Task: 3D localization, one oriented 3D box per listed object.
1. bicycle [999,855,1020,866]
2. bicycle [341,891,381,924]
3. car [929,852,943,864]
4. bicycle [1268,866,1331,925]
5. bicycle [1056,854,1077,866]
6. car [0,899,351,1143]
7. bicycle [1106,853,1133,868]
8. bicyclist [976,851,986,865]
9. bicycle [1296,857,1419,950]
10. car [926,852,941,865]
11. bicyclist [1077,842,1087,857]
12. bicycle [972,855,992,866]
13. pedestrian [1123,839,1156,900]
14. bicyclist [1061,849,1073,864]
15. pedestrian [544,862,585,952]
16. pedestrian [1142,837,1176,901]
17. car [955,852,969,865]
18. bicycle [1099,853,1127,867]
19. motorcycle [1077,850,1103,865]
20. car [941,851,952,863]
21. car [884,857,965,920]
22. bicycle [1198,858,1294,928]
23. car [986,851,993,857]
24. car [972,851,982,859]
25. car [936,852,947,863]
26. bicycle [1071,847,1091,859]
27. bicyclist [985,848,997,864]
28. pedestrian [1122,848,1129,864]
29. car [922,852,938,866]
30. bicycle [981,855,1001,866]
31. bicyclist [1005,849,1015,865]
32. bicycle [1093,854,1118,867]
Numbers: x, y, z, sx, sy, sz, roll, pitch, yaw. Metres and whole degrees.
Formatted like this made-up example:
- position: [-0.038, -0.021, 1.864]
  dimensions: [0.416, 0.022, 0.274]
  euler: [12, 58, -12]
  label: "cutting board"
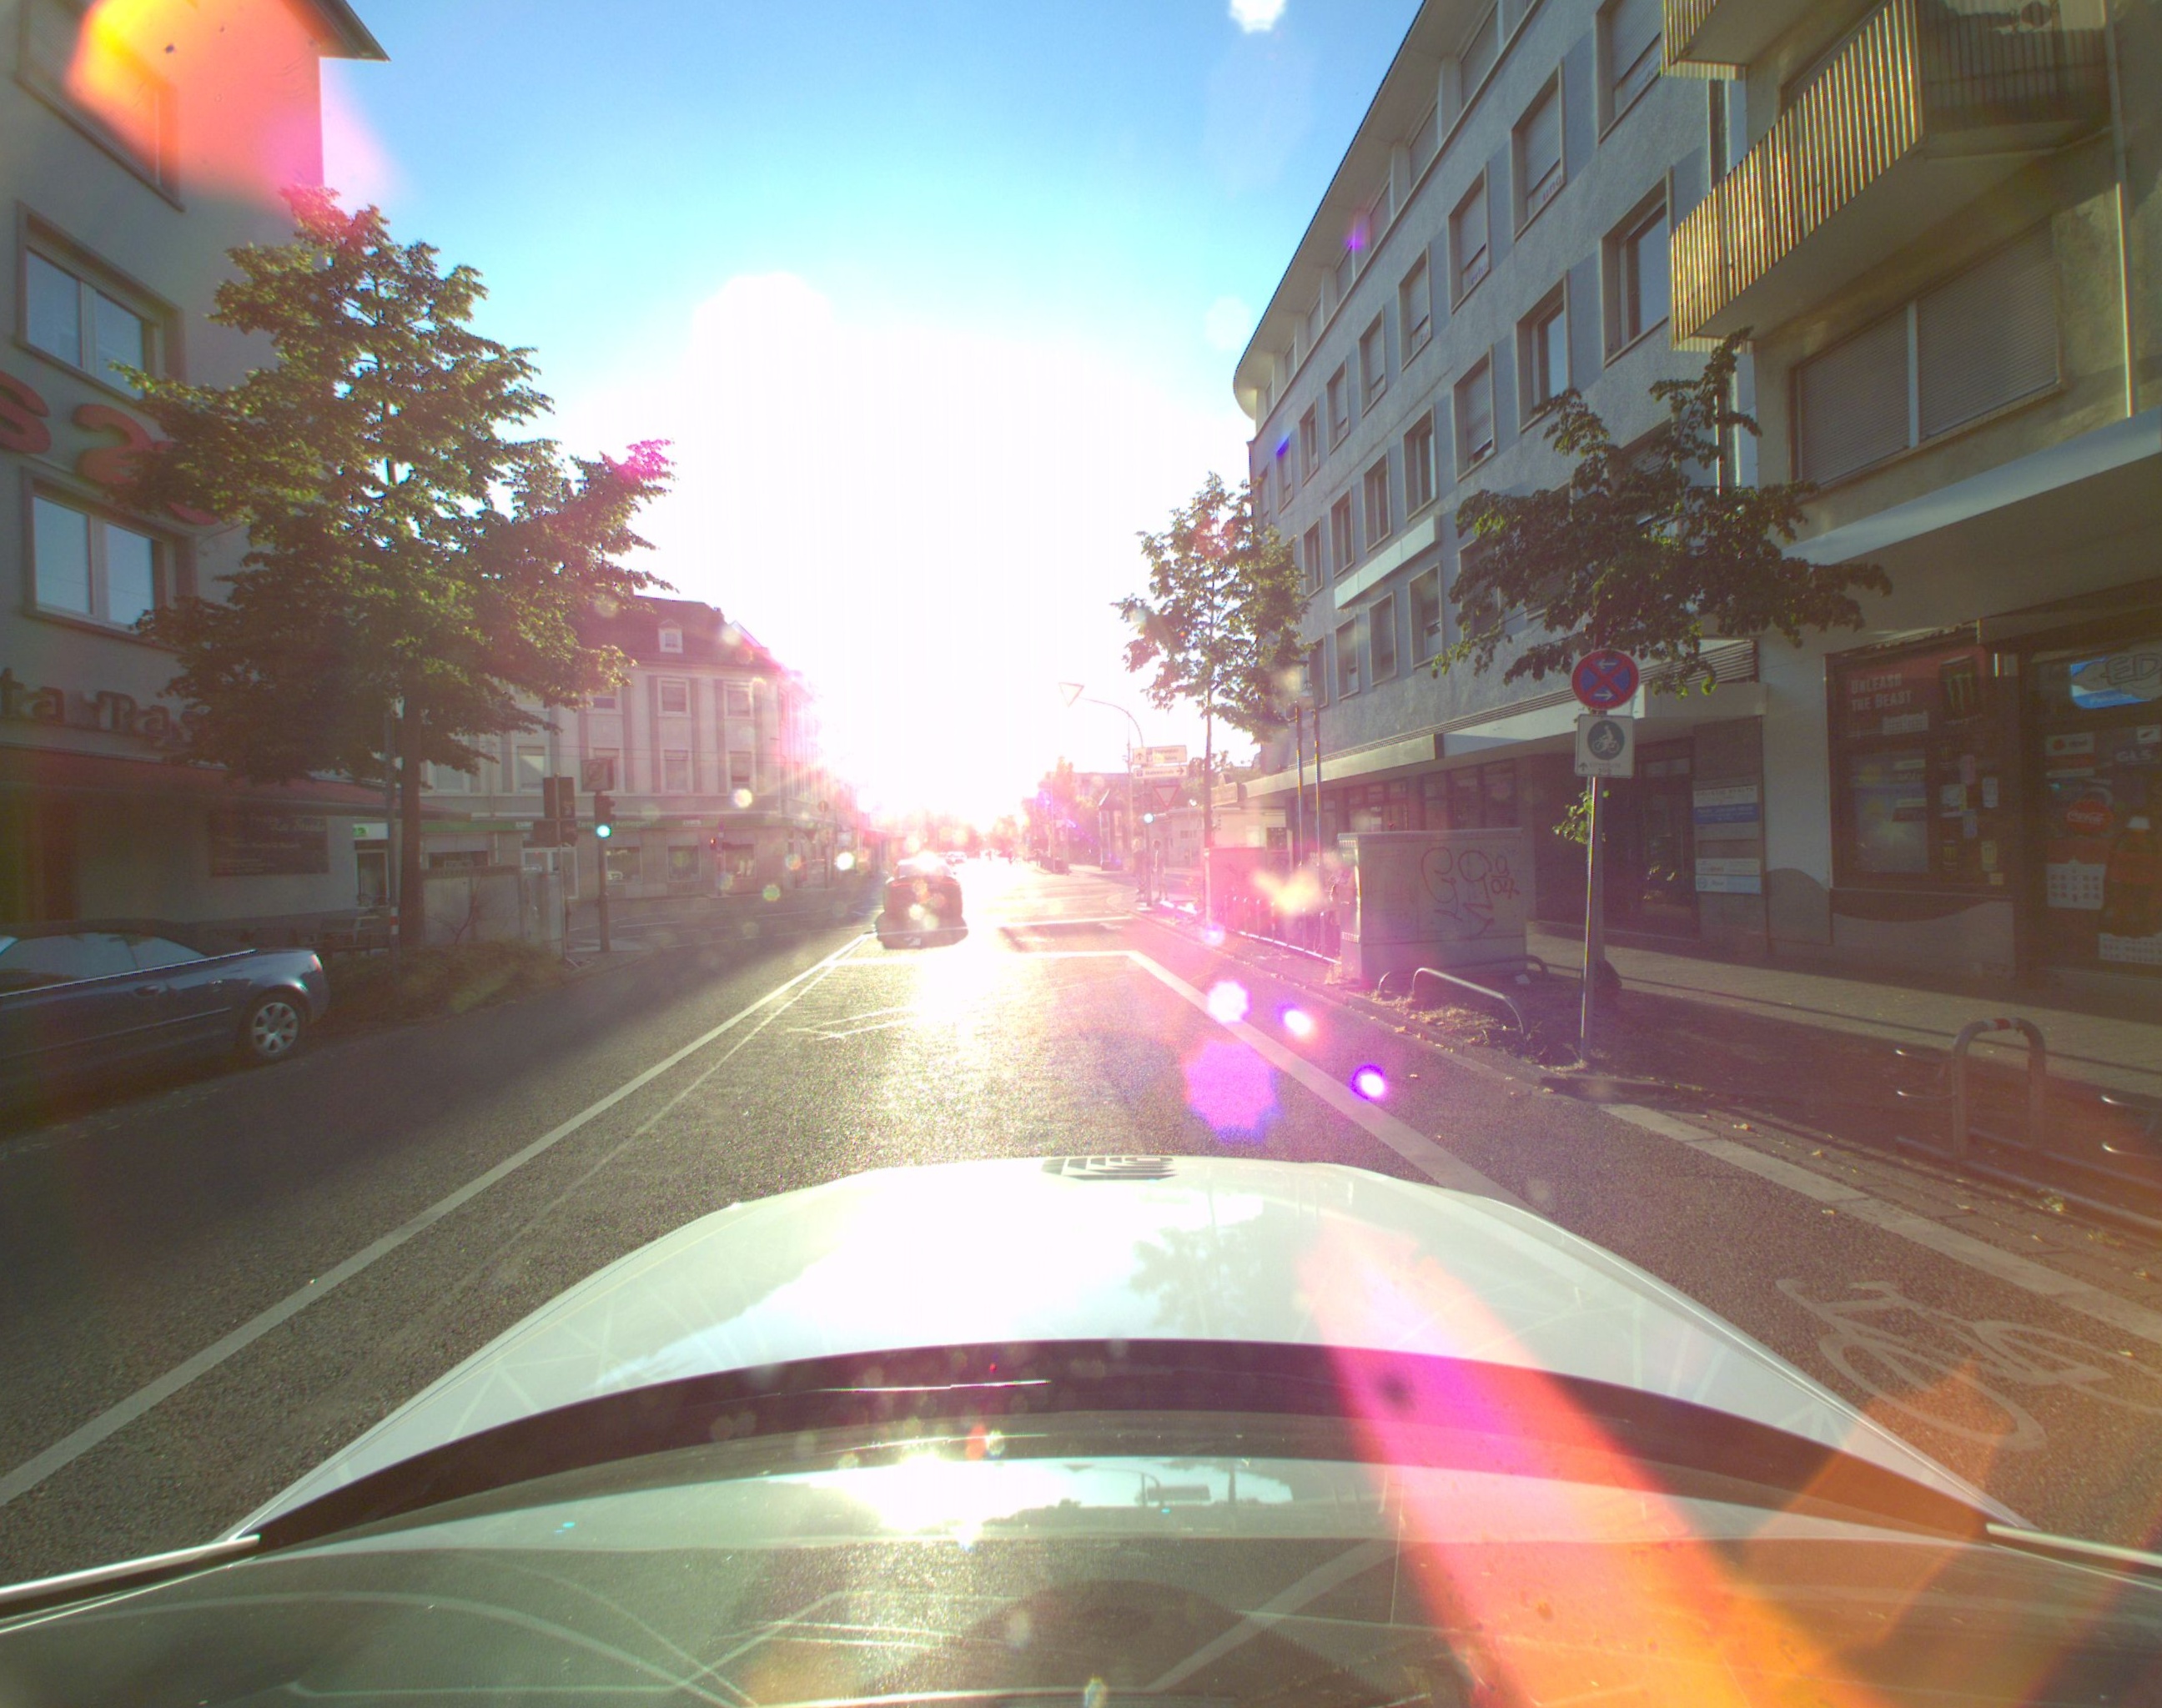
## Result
- position: [-7.377, 0.668, 84.339]
  dimensions: [2.104, 1.204, 0.502]
  euler: [-1, -1, 10]
  label: "bicycle"
- position: [-26.632, 1.961, 30.150]
  dimensions: [0.499, 1.059, 1.730]
  euler: [-2, 0, -21]
  label: "bicycle"
- position: [-18.845, 0.575, 105.807]
  dimensions: [1.543, 1.469, 3.343]
  euler: [-1, 0, -7]
  label: "car"
- position: [4.140, 0.755, 15.541]
  dimensions: [0.403, 1.010, 1.663]
  euler: [-4, 1, -12]
  label: "bicycle"
- position: [-1.459, 0.636, 84.437]
  dimensions: [2.107, 1.204, 0.501]
  euler: [0, -1, 5]
  label: "bicycle"
- position: [-7.598, 1.144, 5.545]
  dimensions: [1.647, 1.353, 4.302]
  euler: [-3, 0, -6]
  label: "car"
- position: [2.887, 0.513, 61.869]
  dimensions: [2.013, 1.044, 0.560]
  euler: [-2, -1, 1]
  label: "bicycle"
- position: [-10.668, 0.463, 86.991]
  dimensions: [0.895, 1.481, 0.735]
  euler: [0, -1, 2]
  label: "bicyclist"
- position: [3.875, 0.664, 11.384]
  dimensions: [1.662, 1.194, 0.491]
  euler: [-2, 0, -20]
  label: "bicycle"
- position: [-18.230, 0.576, 100.877]
  dimensions: [1.543, 1.469, 3.343]
  euler: [-1, 0, -7]
  label: "car"
- position: [0.138, -0.468, 85.671]
  dimensions: [0.955, 1.601, 0.647]
  euler: [0, -1, 5]
  label: "bicyclist"
- position: [-10.587, 0.698, 86.957]
  dimensions: [2.109, 1.204, 0.500]
  euler: [0, -1, 2]
  label: "bicycle"
- position: [1.757, 0.457, 24.331]
  dimensions: [0.589, 1.773, 0.741]
  euler: [-2, 0, -37]
  label: "pedestrian"
- position: [-1.450, 0.250, 84.442]
  dimensions: [1.123, 1.601, 0.703]
  euler: [0, -1, 5]
  label: "bicyclist"
- position: [-9.886, 0.993, 15.576]
  dimensions: [0.589, 1.656, 0.791]
  euler: [-2, 0, -34]
  label: "pedestrian"
- position: [2.248, 0.419, 23.464]
  dimensions: [0.641, 1.773, 0.743]
  euler: [-2, 1, -27]
  label: "pedestrian"
- position: [-14.192, 0.514, 97.113]
  dimensions: [1.543, 1.468, 3.343]
  euler: [-1, 0, -7]
  label: "car"
- position: [2.485, 0.454, 62.920]
  dimensions: [2.139, 1.043, 0.560]
  euler: [-2, -1, 1]
  label: "bicycle"
- position: [0.749, 0.278, 70.667]
  dimensions: [2.228, 1.201, 0.720]
  euler: [-2, 0, -2]
  label: "motorcycle"
- position: [-19.512, 0.454, 118.286]
  dimensions: [1.481, 1.559, 3.250]
  euler: [-1, 0, -7]
  label: "car"
- position: [-4.125, 0.842, 21.625]
  dimensions: [1.891, 1.480, 4.526]
  euler: [0, -1, -11]
  label: "car"
- position: [3.009, 0.696, 14.883]
  dimensions: [1.658, 1.194, 0.475]
  euler: [-2, 1, -12]
  label: "bicycle"
- position: [-25.465, -0.019, 226.511]
  dimensions: [1.990, 1.816, 3.993]
  euler: [0, -1, -5]
  label: "car"
- position: [-24.423, 0.202, 191.212]
  dimensions: [1.990, 1.684, 3.994]
  euler: [-2, 0, -5]
  label: "car"
- position: [-19.242, 0.477, 112.499]
  dimensions: [1.306, 1.582, 2.881]
  euler: [-1, 0, -7]
  label: "car"
- position: [0.014, -0.092, 85.658]
  dimensions: [2.107, 1.204, 0.501]
  euler: [0, -1, 5]
  label: "bicycle"
- position: [-9.890, 0.240, 89.857]
  dimensions: [1.123, 1.791, 0.766]
  euler: [0, -1, 7]
  label: "bicyclist"
- position: [4.422, 0.210, 81.265]
  dimensions: [0.678, 1.657, 0.696]
  euler: [0, -1, 1]
  label: "pedestrian"
- position: [-18.016, 0.595, 97.241]
  dimensions: [1.543, 1.483, 3.344]
  euler: [-2, 0, -7]
  label: "car"
- position: [-9.915, 0.691, 89.869]
  dimensions: [2.107, 1.204, 0.501]
  euler: [0, -1, 6]
  label: "bicycle"
- position: [-7.371, 0.294, 84.337]
  dimensions: [0.845, 1.658, 0.678]
  euler: [-1, -1, 10]
  label: "bicyclist"
- position: [2.036, 0.519, 67.594]
  dimensions: [2.070, 0.982, 0.560]
  euler: [-2, -1, 1]
  label: "bicycle"
